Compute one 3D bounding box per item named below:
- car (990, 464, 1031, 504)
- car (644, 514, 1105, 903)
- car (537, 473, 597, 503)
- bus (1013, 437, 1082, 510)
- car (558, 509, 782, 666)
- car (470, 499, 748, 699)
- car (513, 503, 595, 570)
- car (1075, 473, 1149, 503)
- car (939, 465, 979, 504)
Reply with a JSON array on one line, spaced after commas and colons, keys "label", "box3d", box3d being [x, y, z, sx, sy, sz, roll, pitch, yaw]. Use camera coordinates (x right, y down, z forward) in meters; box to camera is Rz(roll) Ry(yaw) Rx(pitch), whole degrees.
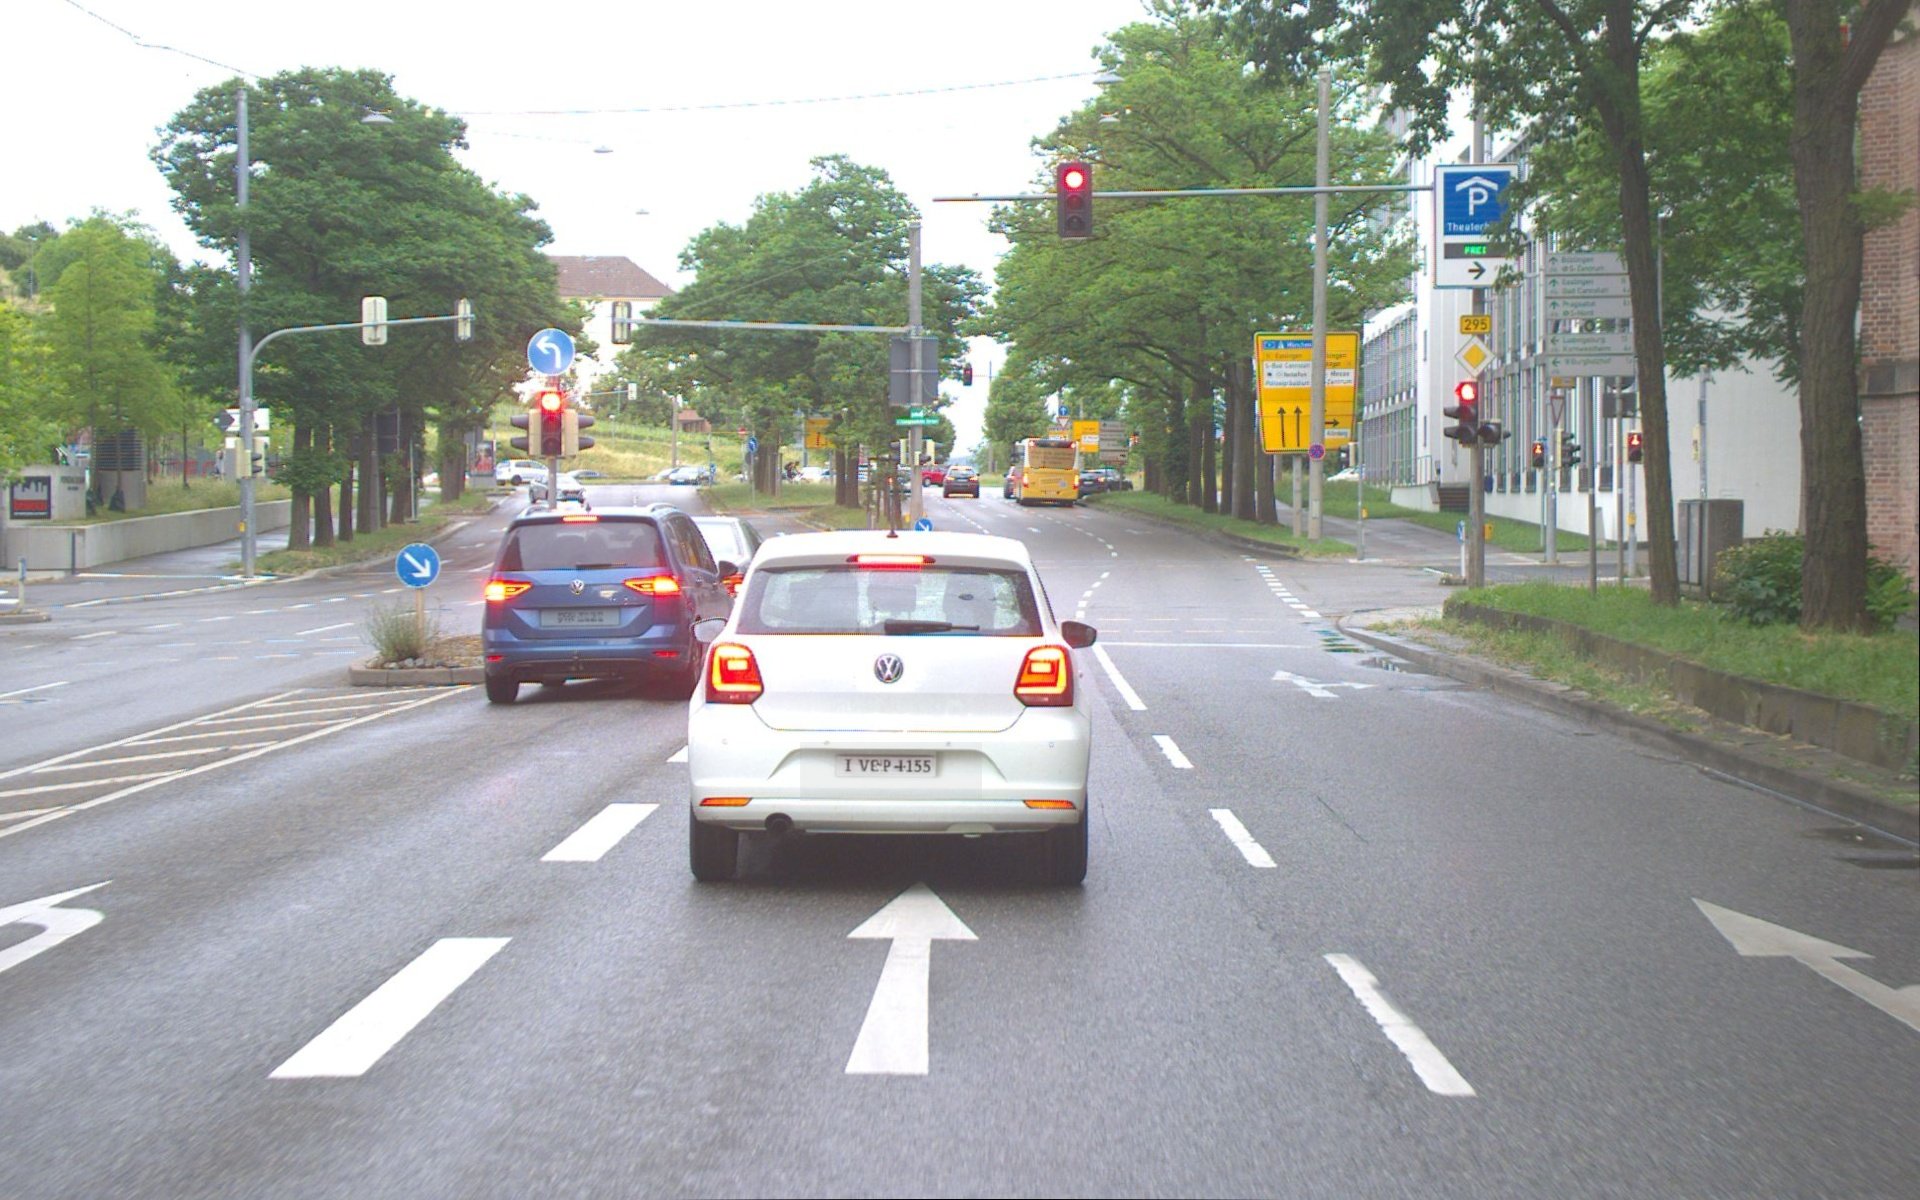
[{"label": "car", "box3d": [2.595, -5.972, 177.044, 1.993, 2.007, 4.000, 0, 2, -1]}, {"label": "car", "box3d": [-0.323, 0.376, 15.434, 1.794, 1.497, 4.000, 0, 2, 0]}, {"label": "car", "box3d": [-19.190, -5.464, 167.680, 1.814, 1.406, 4.657, -3, 3, -20]}, {"label": "bus", "box3d": [4.037, -5.966, 160.885, 2.828, 3.255, 10.002, 0, 3, -1]}, {"label": "car", "box3d": [-2.964, -0.175, 35.954, 1.847, 1.505, 4.048, -1, 2, 2]}, {"label": "car", "box3d": [-2.963, -0.063, 29.846, 1.772, 1.591, 4.197, -1, 2, 3]}, {"label": "car", "box3d": [-9.974, -1.584, 84.601, 1.750, 1.515, 3.818, -1, 2, -4]}, {"label": "car", "box3d": [7.814, -5.742, 176.647, 1.699, 1.510, 3.818, 1, 2, 45]}, {"label": "car", "box3d": [-0.076, -5.940, 177.035, 1.993, 2.007, 4.000, 0, 2, -1]}]
